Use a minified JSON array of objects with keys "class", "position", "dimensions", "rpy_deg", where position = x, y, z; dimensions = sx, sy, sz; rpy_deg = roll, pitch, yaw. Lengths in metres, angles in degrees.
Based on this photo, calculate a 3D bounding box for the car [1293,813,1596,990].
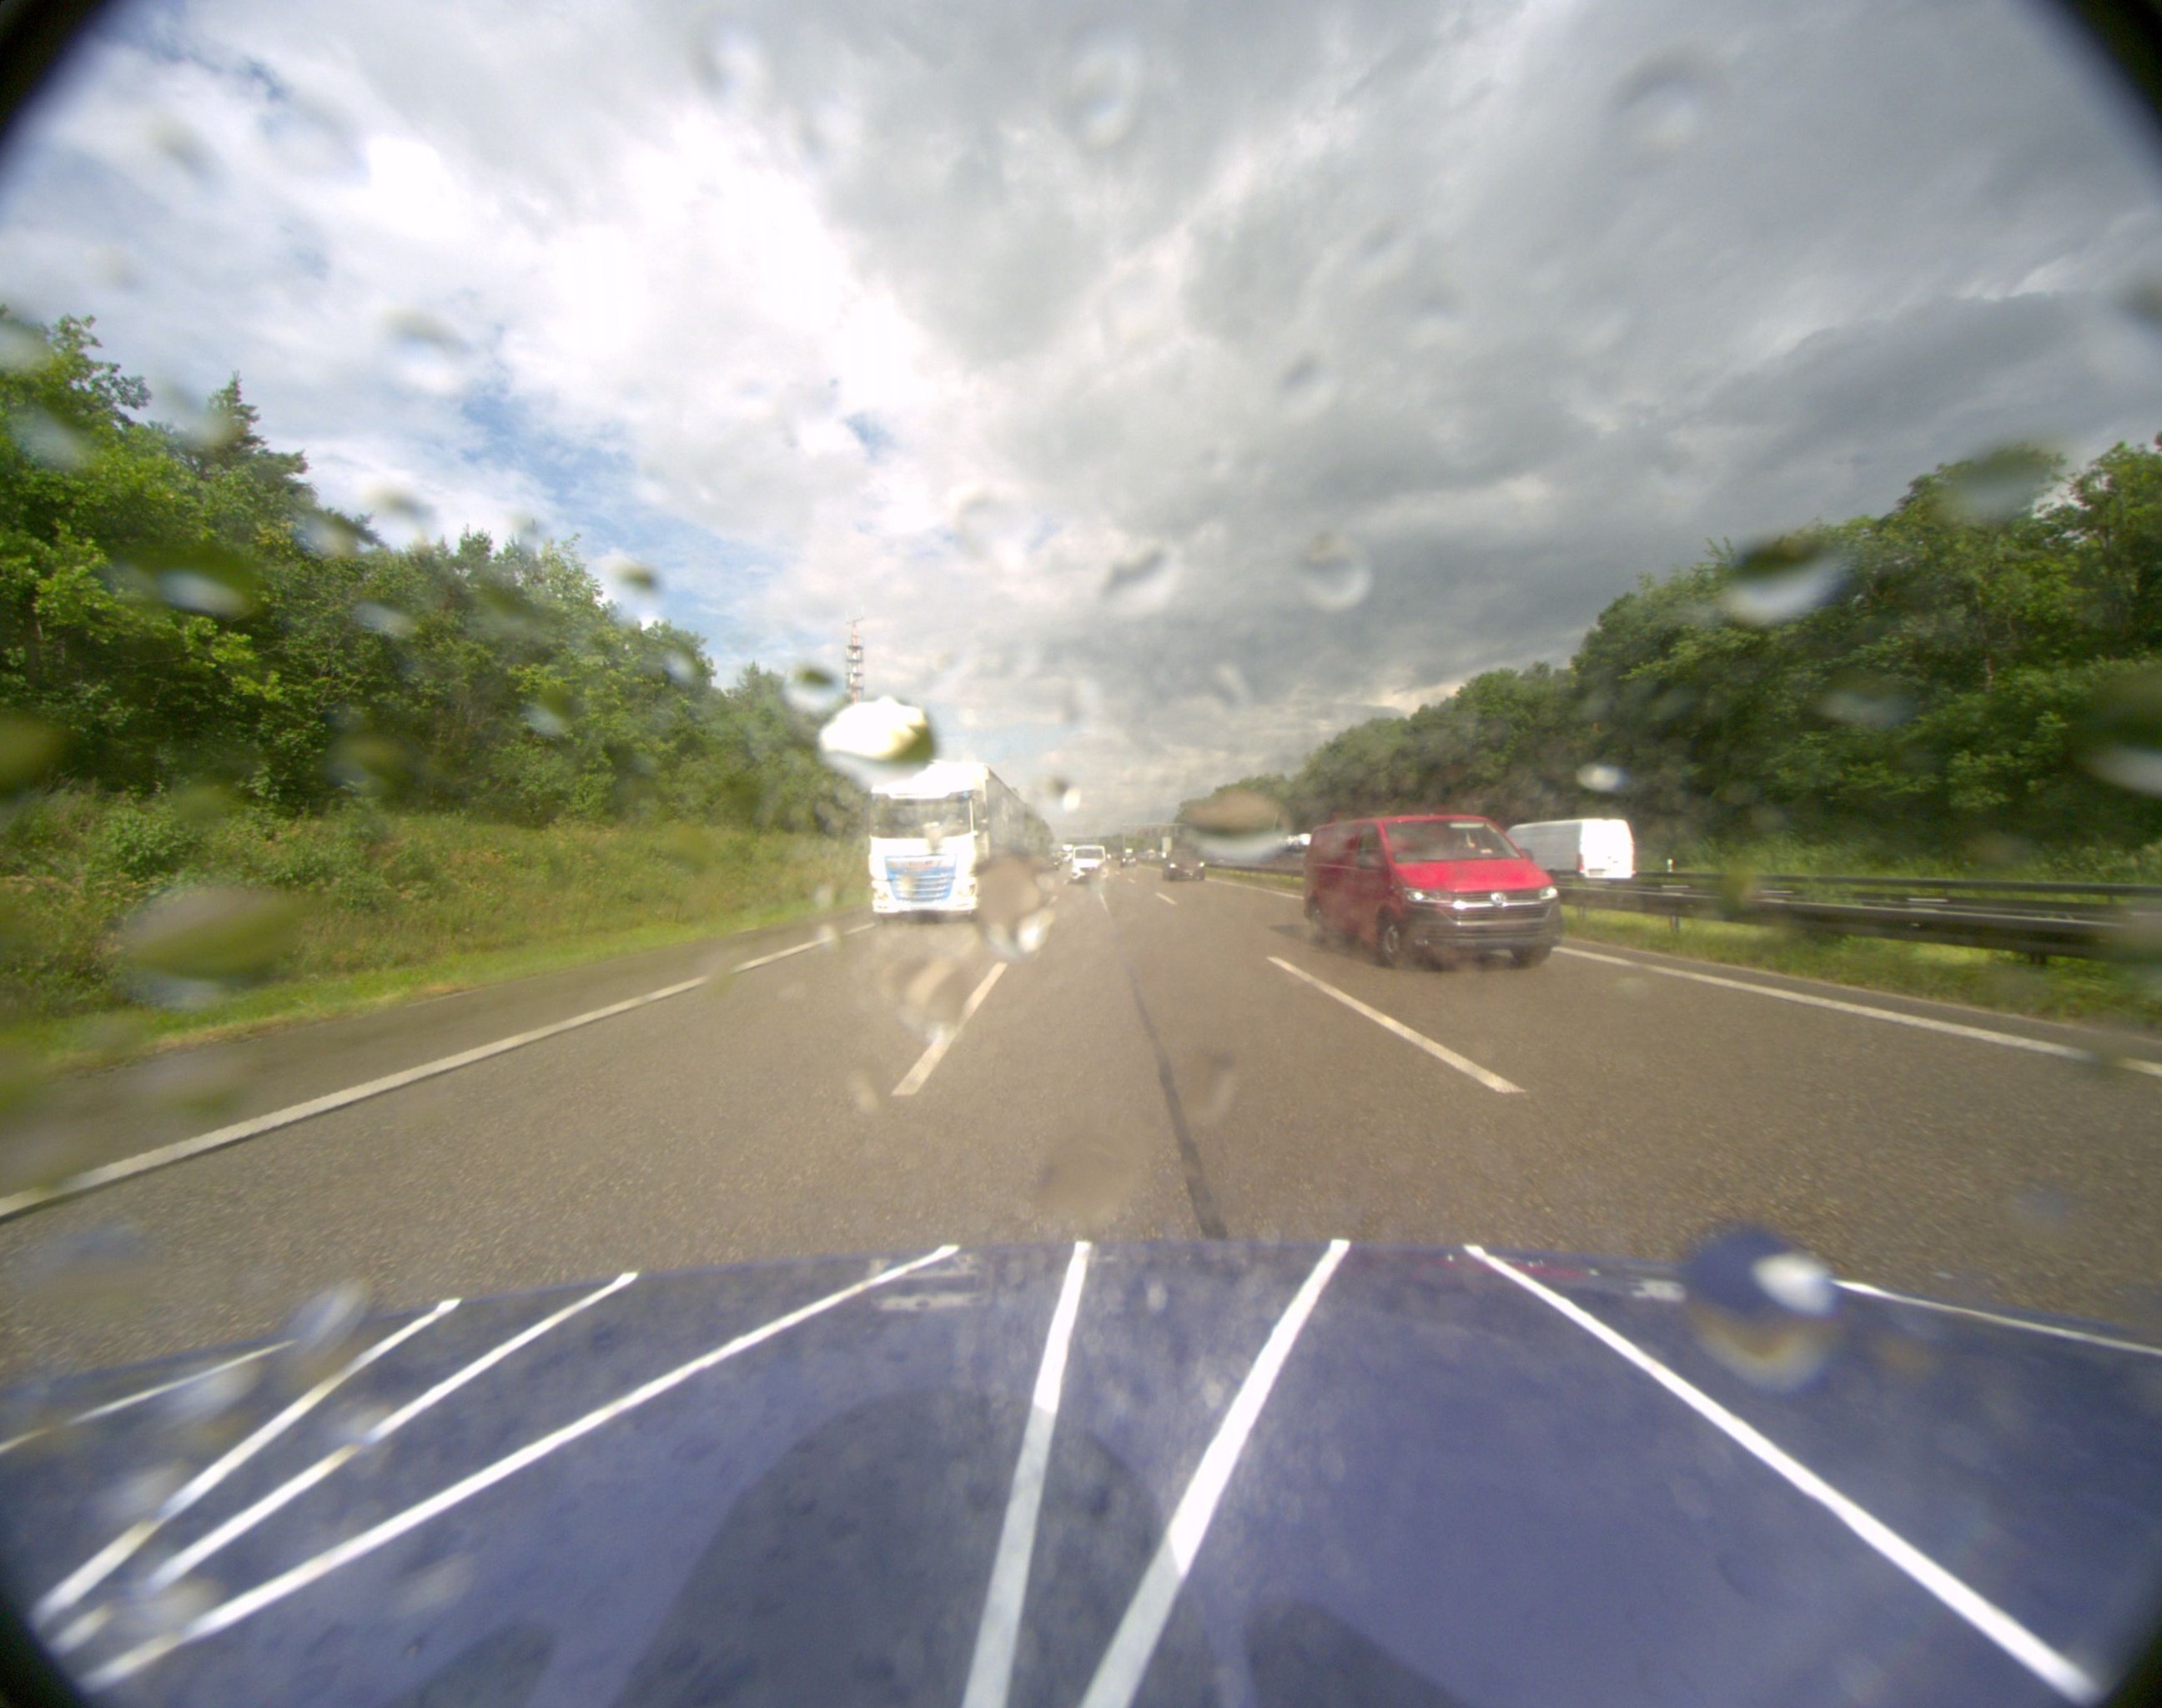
[{"class":"car","position":[4.634,0.494,10.693],"dimensions":[1.927,1.855,4.838],"rpy_deg":[-2,1,0]}]

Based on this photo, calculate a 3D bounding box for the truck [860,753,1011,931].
[{"class":"truck","position":[-3.661,-0.308,21.052],"dimensions":[2.613,3.972,7.289],"rpy_deg":[-2,1,0]}]

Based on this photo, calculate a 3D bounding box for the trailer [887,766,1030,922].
[{"class":"trailer","position":[-3.670,-0.318,26.943],"dimensions":[2.641,3.972,14.062],"rpy_deg":[-2,1,0]}]

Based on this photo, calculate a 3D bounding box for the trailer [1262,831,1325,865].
[{"class":"trailer","position":[26.560,-0.808,96.278],"dimensions":[2.998,3.809,17.950],"rpy_deg":[-3,1,1]}]

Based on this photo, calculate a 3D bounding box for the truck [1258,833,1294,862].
[{"class":"truck","position":[26.706,-0.887,104.370],"dimensions":[2.998,3.809,6.863],"rpy_deg":[-3,1,0]}]

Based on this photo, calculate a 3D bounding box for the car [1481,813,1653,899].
[{"class":"car","position":[18.426,0.055,29.384],"dimensions":[2.268,2.853,6.788],"rpy_deg":[-2,1,0]}]

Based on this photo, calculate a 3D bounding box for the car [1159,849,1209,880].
[{"class":"car","position":[5.497,0.534,40.972],"dimensions":[2.009,1.488,4.838],"rpy_deg":[-2,1,0]}]

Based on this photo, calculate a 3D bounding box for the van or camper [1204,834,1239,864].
[{"class":"van or camper","position":[14.595,-0.508,79.324],"dimensions":[2.268,2.853,6.838],"rpy_deg":[-2,1,0]}]

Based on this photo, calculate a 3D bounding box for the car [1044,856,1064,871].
[{"class":"car","position":[-2.867,0.962,81.074],"dimensions":[1.799,1.410,4.838],"rpy_deg":[-2,1,0]}]

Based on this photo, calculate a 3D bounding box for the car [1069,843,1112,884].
[{"class":"car","position":[0.506,0.464,41.969],"dimensions":[2.124,1.988,5.982],"rpy_deg":[-2,1,0]}]

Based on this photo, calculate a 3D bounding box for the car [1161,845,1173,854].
[{"class":"car","position":[18.381,-0.939,163.271],"dimensions":[1.873,1.935,5.040],"rpy_deg":[-2,1,-1]}]

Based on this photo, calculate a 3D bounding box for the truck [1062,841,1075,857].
[{"class":"truck","position":[-3.082,-1.256,189.229],"dimensions":[3.064,3.827,8.799],"rpy_deg":[-1,0,-1]}]

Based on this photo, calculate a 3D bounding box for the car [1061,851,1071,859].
[{"class":"car","position":[-2.792,0.153,144.744],"dimensions":[1.799,1.410,4.838],"rpy_deg":[-2,1,0]}]

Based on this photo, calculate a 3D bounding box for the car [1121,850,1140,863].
[{"class":"car","position":[5.587,0.272,86.688],"dimensions":[1.799,1.410,4.838],"rpy_deg":[-2,1,0]}]
